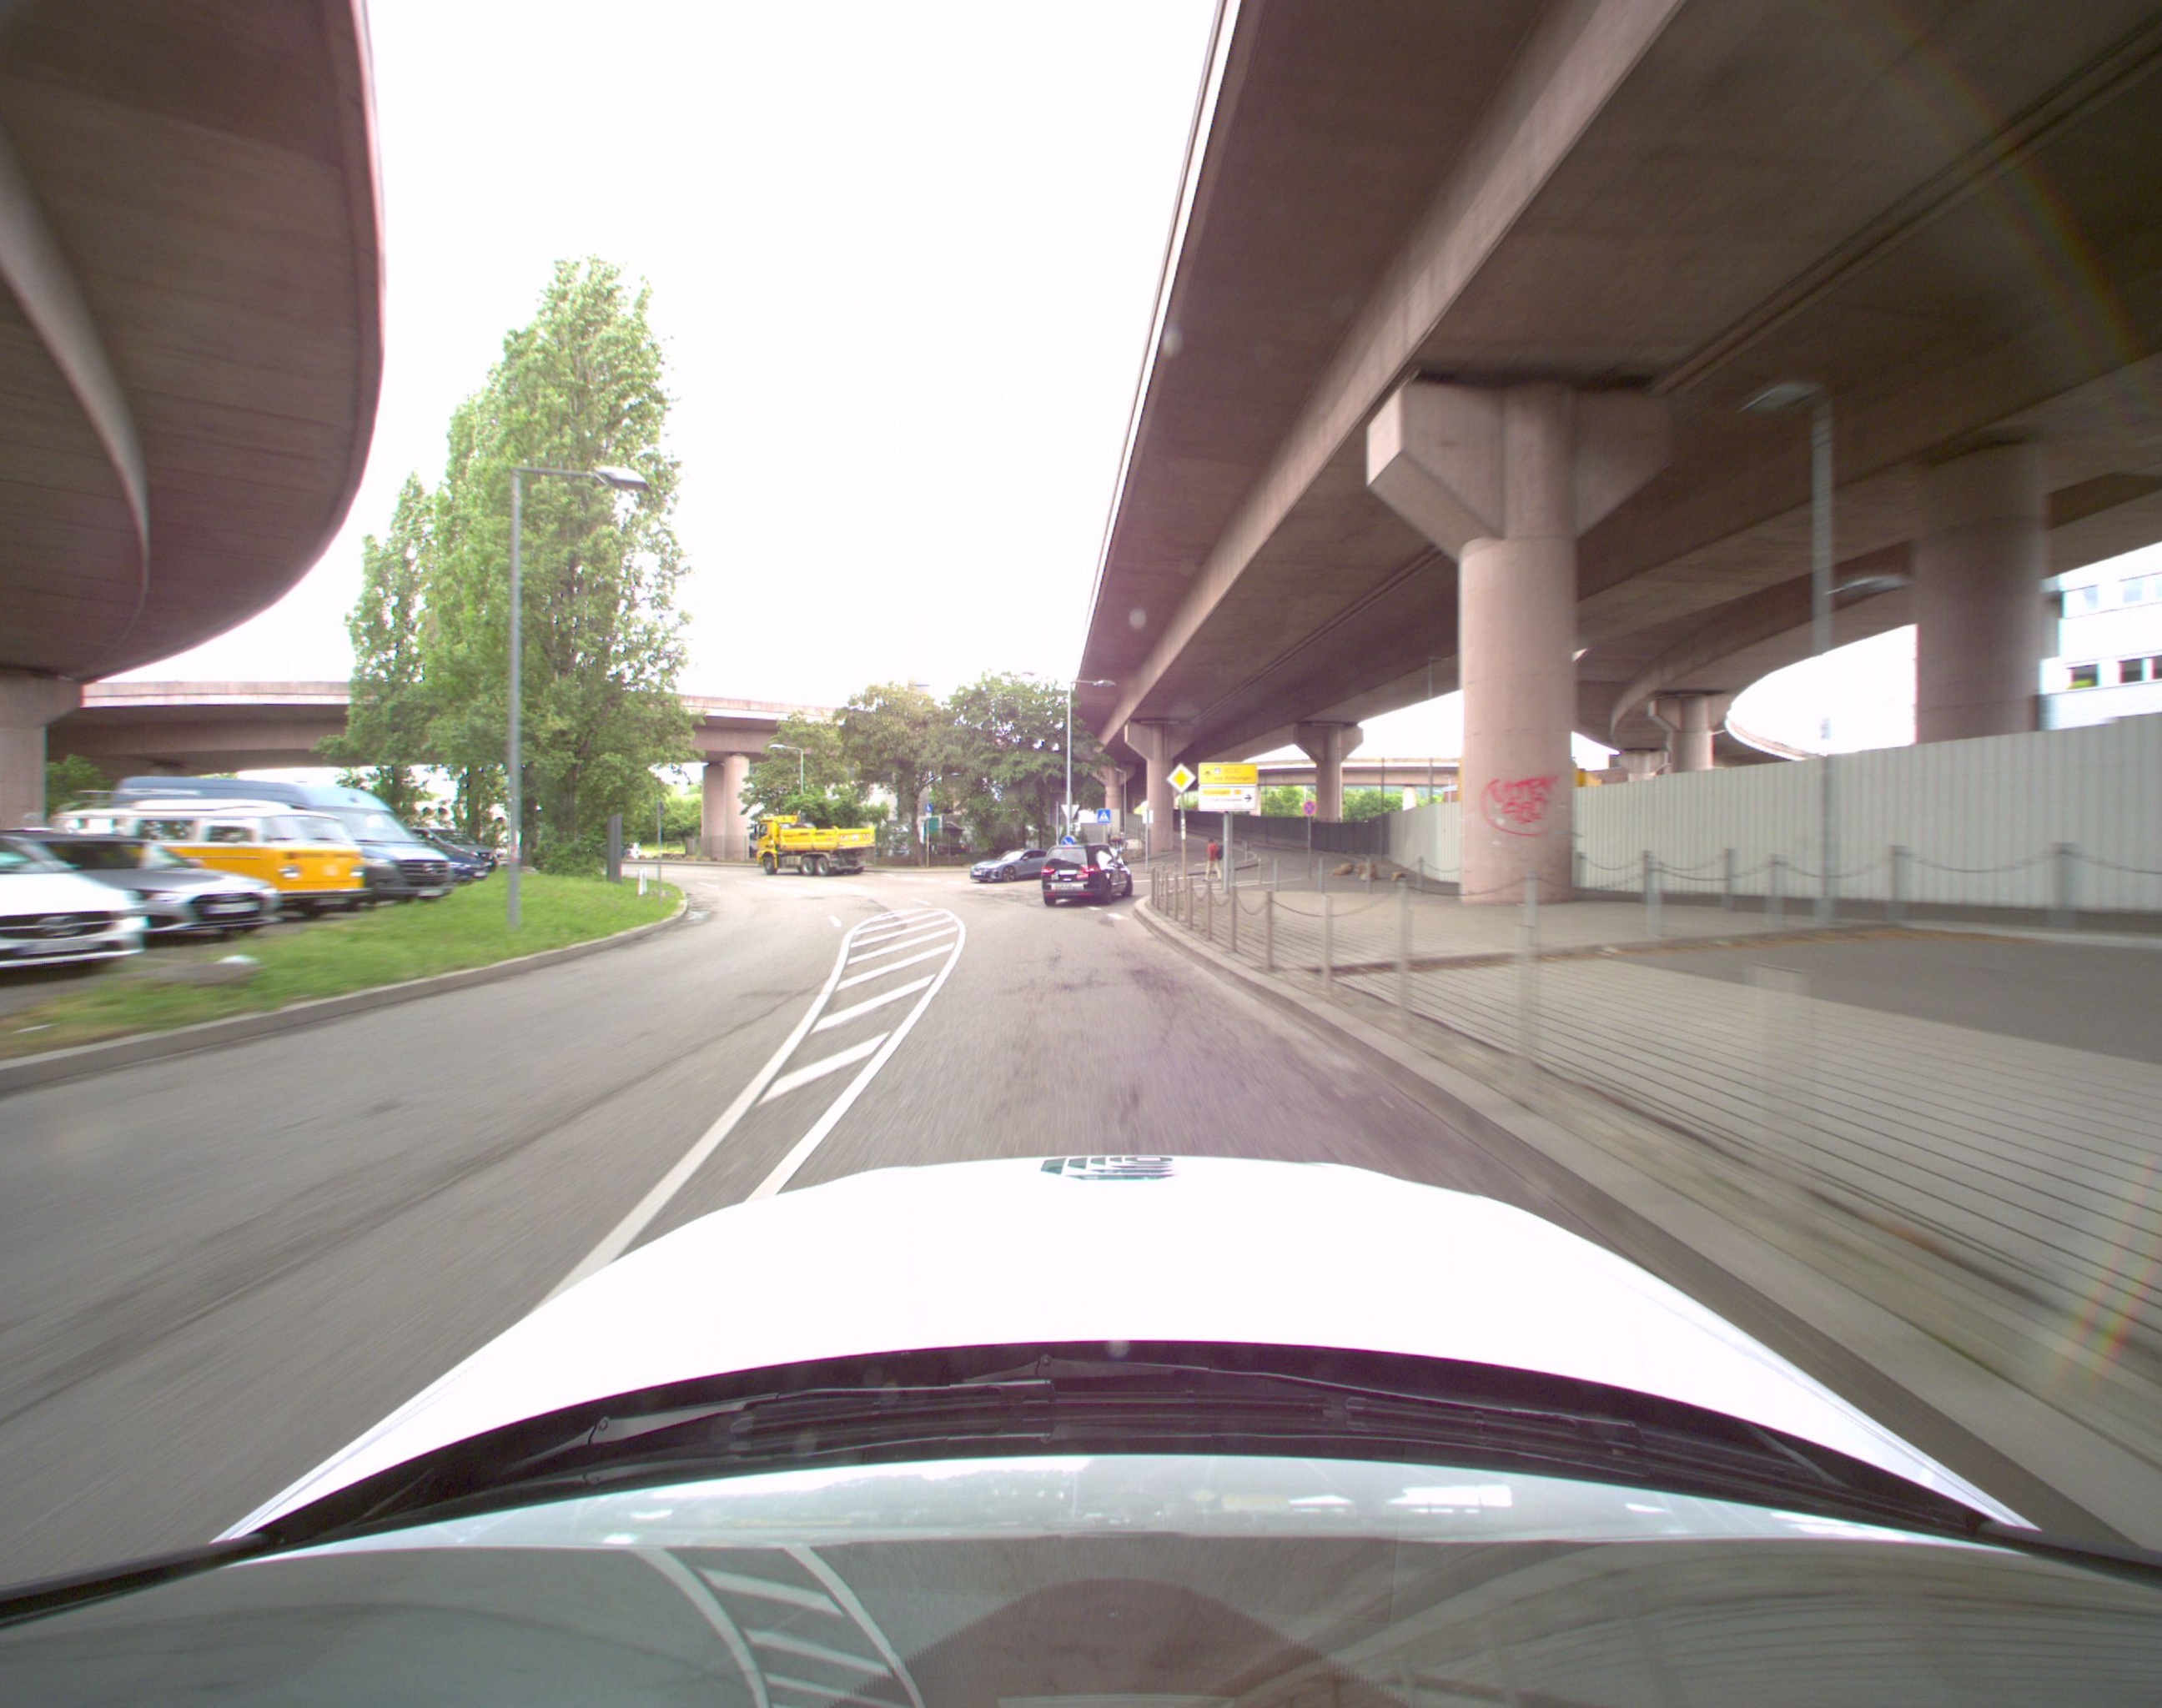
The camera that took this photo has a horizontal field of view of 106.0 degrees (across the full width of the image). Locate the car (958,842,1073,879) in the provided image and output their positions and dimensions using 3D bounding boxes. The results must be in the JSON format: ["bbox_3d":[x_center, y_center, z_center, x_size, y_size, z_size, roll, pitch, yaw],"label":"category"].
[{"bbox_3d":[-2.883,0.250,36.655,2.146,1.501,4.962,-1,1,44],"label":"car"}]

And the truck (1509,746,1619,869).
[{"bbox_3d":[22.037,-1.906,36.870,3.107,4.903,8.773,0,0,38],"label":"truck"}]

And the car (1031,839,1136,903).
[{"bbox_3d":[0.198,0.435,24.022,1.979,1.679,4.578,-2,0,14],"label":"car"}]

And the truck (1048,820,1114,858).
[{"bbox_3d":[-0.103,-1.320,66.685,2.930,2.898,6.505,-2,2,-25],"label":"truck"}]

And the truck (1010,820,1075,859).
[{"bbox_3d":[-3.167,-1.211,65.073,2.930,2.898,6.505,-2,2,-25],"label":"truck"}]

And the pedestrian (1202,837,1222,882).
[{"bbox_3d":[5.095,0.207,31.578,0.537,1.676,0.555,-2,1,-16],"label":"pedestrian"}]

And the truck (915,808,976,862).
[{"bbox_3d":[-10.587,-1.479,63.167,3.079,3.962,6.871,-2,1,-23],"label":"truck"}]

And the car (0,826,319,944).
[{"bbox_3d":[-13.552,0.353,11.328,4.222,1.371,2.004,2,1,6],"label":"car"}]

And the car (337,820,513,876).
[{"bbox_3d":[-25.898,-0.210,32.313,5.073,2.072,2.259,-1,-1,0],"label":"car"}]

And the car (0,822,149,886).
[{"bbox_3d":[-34.489,0.023,26.918,1.825,1.800,4.325,-2,5,20],"label":"car"}]

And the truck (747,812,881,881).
[{"bbox_3d":[-15.358,-0.568,46.611,8.140,3.480,2.956,3,5,35],"label":"truck"}]

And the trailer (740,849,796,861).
[{"bbox_3d":[-26.671,0.050,69.298,2.169,0.743,6.217,-6,5,-44],"label":"trailer"}]

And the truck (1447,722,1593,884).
[{"bbox_3d":[15.962,-1.593,29.189,3.107,4.917,8.773,0,0,38],"label":"truck"}]

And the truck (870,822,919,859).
[{"bbox_3d":[-19.128,-1.487,83.051,3.072,3.618,7.847,-1,2,-27],"label":"truck"}]

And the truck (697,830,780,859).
[{"bbox_3d":[-31.988,-0.888,76.079,7.148,2.551,2.738,-1,1,19],"label":"truck"}]

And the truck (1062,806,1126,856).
[{"bbox_3d":[1.037,-2.135,73.927,3.076,4.299,7.994,-2,2,-20],"label":"truck"}]

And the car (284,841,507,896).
[{"bbox_3d":[-20.929,0.399,25.075,4.833,1.488,2.072,-1,1,-7],"label":"car"}]

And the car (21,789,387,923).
[{"bbox_3d":[-15.069,0.010,14.155,4.535,2.111,1.853,1,0,4],"label":"car"}]

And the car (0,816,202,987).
[{"bbox_3d":[-12.343,0.387,8.629,4.355,1.606,1.959,2,1,9],"label":"car"}]

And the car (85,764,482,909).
[{"bbox_3d":[-16.252,-0.375,16.822,6.145,2.724,2.371,1,1,5],"label":"car"}]

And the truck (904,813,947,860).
[{"bbox_3d":[-16.681,-1.906,86.935,3.214,4.779,7.996,-2,2,-20],"label":"truck"}]

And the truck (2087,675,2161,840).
[{"bbox_3d":[20.194,-1.768,13.144,3.107,2.943,8.774,-4,0,39],"label":"truck"}]

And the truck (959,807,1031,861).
[{"bbox_3d":[-6.815,-1.586,63.236,3.081,3.867,7.983,-2,2,-25],"label":"truck"}]
